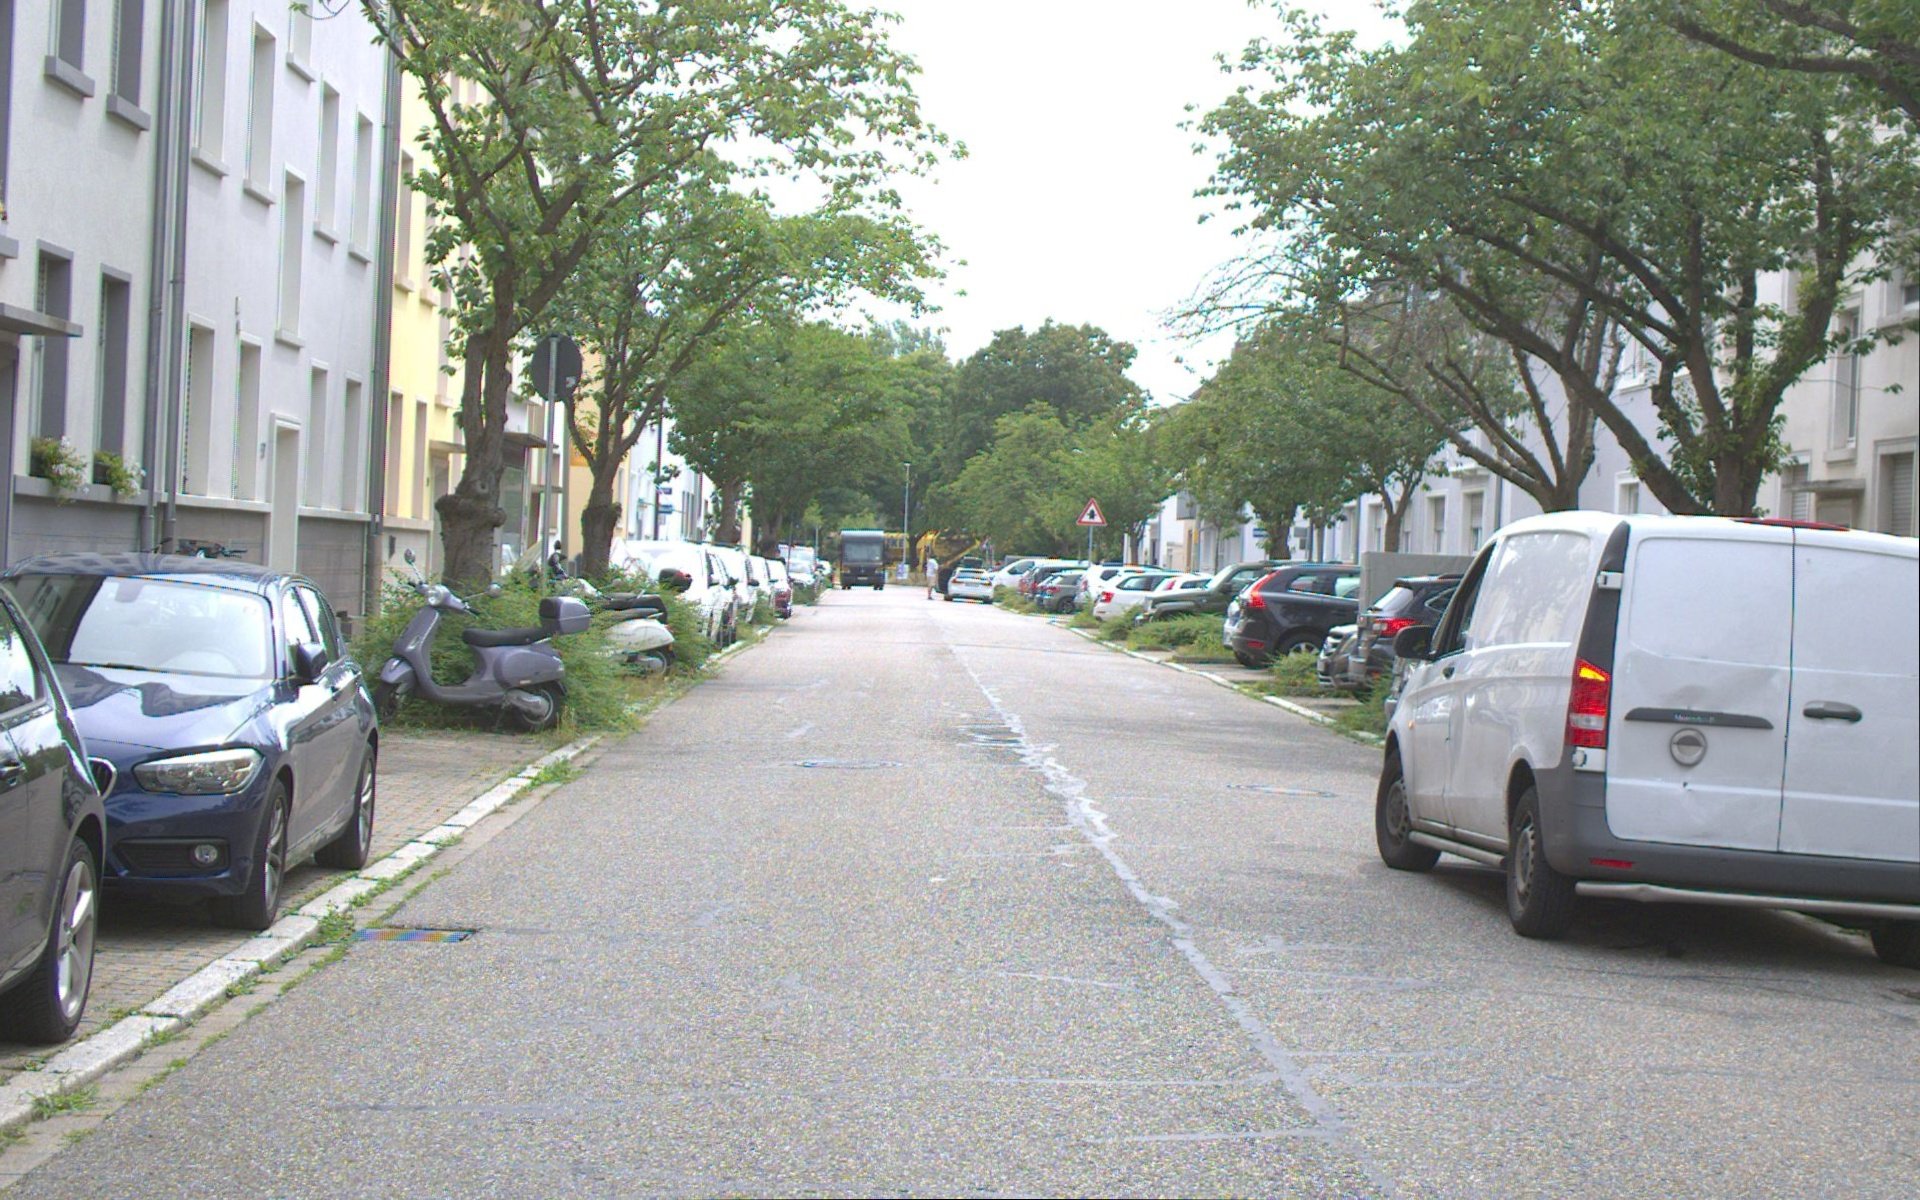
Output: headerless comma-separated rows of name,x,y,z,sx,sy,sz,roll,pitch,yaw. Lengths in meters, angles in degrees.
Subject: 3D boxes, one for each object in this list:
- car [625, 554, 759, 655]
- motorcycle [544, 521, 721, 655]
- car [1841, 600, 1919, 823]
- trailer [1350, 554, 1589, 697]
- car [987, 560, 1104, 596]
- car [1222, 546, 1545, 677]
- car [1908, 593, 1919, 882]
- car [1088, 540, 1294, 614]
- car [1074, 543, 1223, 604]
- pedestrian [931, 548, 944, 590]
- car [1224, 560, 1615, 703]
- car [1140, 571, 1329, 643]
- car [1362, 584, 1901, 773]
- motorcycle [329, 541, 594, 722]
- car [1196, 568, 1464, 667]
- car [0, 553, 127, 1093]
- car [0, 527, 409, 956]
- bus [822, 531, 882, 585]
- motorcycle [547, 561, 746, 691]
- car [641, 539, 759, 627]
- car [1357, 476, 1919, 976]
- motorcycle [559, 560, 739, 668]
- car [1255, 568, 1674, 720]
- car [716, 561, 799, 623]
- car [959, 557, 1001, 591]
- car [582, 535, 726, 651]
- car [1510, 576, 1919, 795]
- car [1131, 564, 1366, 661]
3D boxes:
car,-4.310,0.069,55.878,1.790,1.487,4.812,3,0,-1
motorcycle,-4.353,-0.166,45.560,0.936,1.670,2.473,2,1,-44
car,8.076,0.728,22.868,3.986,1.415,1.638,0,0,-2
trailer,6.669,0.319,45.153,2.961,1.825,1.400,0,0,2
car,3.694,-0.942,148.984,4.974,1.513,1.769,0,0,-3
car,5.785,0.146,47.340,4.215,1.730,1.904,0,0,1
car,6.993,0.768,18.070,3.478,1.568,1.815,0,0,-2
car,5.299,-0.533,79.216,4.614,1.658,1.892,0,0,0
car,5.088,-0.720,93.290,3.923,1.627,1.868,0,0,0
pedestrian,-0.919,-1.253,140.237,0.522,1.698,0.444,0,0,3
car,5.298,0.351,39.979,4.214,1.592,1.904,0,0,-3
car,5.635,0.139,70.757,3.624,1.449,1.773,0,0,-5
car,5.385,0.618,27.897,3.986,1.450,1.766,0,0,-2
motorcycle,-3.953,0.244,27.213,2.011,1.402,0.793,0,0,-12
car,5.876,0.263,54.890,3.986,1.525,1.768,0,0,-4
car,-3.480,0.569,8.763,1.836,1.479,4.094,4,0,-3
car,-3.564,0.486,14.748,1.836,1.479,4.121,5,0,-3
bus,-5.714,-2.171,180.584,3.003,2.752,8.925,0,0,-2
motorcycle,-3.618,0.298,39.757,2.231,1.476,0.597,0,0,-28
car,-4.825,-0.317,64.203,1.918,1.576,4.382,0,0,-1
car,3.314,0.507,16.124,1.993,1.908,4.704,4,0,-3
motorcycle,-3.470,0.154,38.413,1.905,1.187,0.597,0,0,-28
car,5.459,0.461,37.531,4.214,1.592,1.904,0,0,-3
car,-4.975,-0.204,85.092,1.877,1.481,4.512,0,0,-1
car,0.791,-1.069,140.827,1.687,1.349,3.826,0,0,0
car,-4.398,-0.112,49.939,1.757,1.551,4.256,2,0,-1
car,6.163,0.603,25.131,3.986,1.531,1.638,0,0,-2
car,5.675,0.241,68.061,4.525,1.852,1.793,0,0,1
